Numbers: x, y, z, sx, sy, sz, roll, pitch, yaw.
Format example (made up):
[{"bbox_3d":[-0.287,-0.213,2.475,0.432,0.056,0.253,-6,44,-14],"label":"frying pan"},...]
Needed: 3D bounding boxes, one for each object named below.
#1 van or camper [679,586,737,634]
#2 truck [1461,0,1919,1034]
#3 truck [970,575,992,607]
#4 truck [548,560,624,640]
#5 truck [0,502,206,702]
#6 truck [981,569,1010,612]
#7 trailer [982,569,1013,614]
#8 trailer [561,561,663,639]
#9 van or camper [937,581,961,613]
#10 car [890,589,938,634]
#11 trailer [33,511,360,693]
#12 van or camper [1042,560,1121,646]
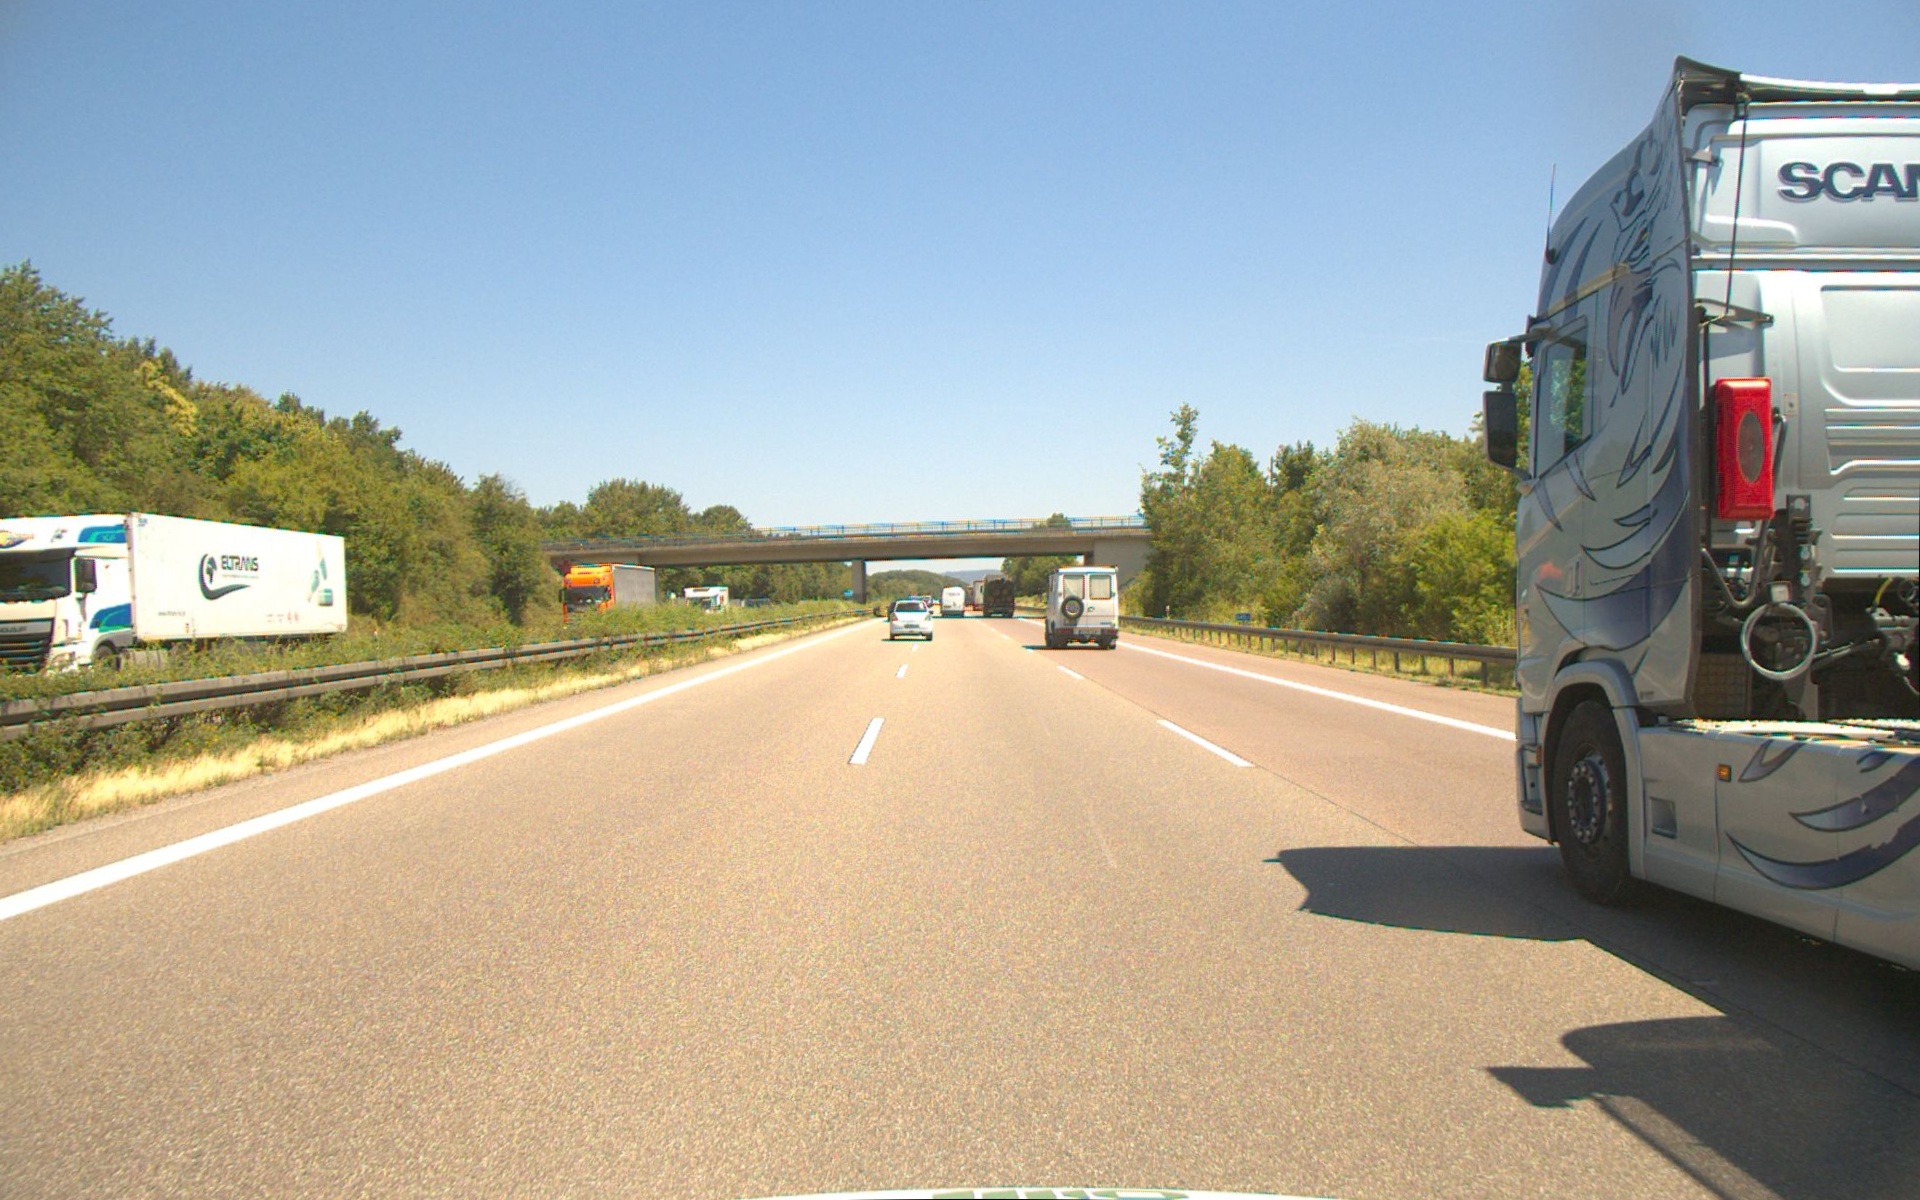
[{"bbox_3d":[-16.656,0.665,109.881,2.559,3.018,7.859,1,0,0],"label":"van or camper"},{"bbox_3d":[4.645,-0.587,3.672,2.742,4.117,13.351,1,0,-1],"label":"truck"},{"bbox_3d":[2.940,-1.218,233.273,3.015,4.283,16.843,1,0,1],"label":"truck"},{"bbox_3d":[-20.963,-0.007,92.928,3.073,4.305,5.175,1,0,-1],"label":"truck"},{"bbox_3d":[-20.306,0.041,38.094,3.129,4.221,5.942,1,0,-1],"label":"truck"},{"bbox_3d":[3.410,-0.876,160.887,2.615,4.064,6.636,0,0,0],"label":"truck"},{"bbox_3d":[3.415,-0.769,153.869,2.599,4.028,13.635,0,0,0],"label":"trailer"},{"bbox_3d":[-20.943,0.006,100.514,3.080,4.322,14.478,1,0,0],"label":"trailer"},{"bbox_3d":[-0.898,-0.246,143.043,2.016,2.668,5.985,0,0,0],"label":"van or camper"},{"bbox_3d":[-1.803,0.437,64.913,1.819,1.681,3.999,1,0,-2],"label":"car"},{"bbox_3d":[-20.431,0.068,45.660,3.111,4.264,12.984,1,0,-1],"label":"trailer"},{"bbox_3d":[4.054,0.107,56.094,2.071,2.750,6.366,0,0,-1],"label":"van or camper"}]
